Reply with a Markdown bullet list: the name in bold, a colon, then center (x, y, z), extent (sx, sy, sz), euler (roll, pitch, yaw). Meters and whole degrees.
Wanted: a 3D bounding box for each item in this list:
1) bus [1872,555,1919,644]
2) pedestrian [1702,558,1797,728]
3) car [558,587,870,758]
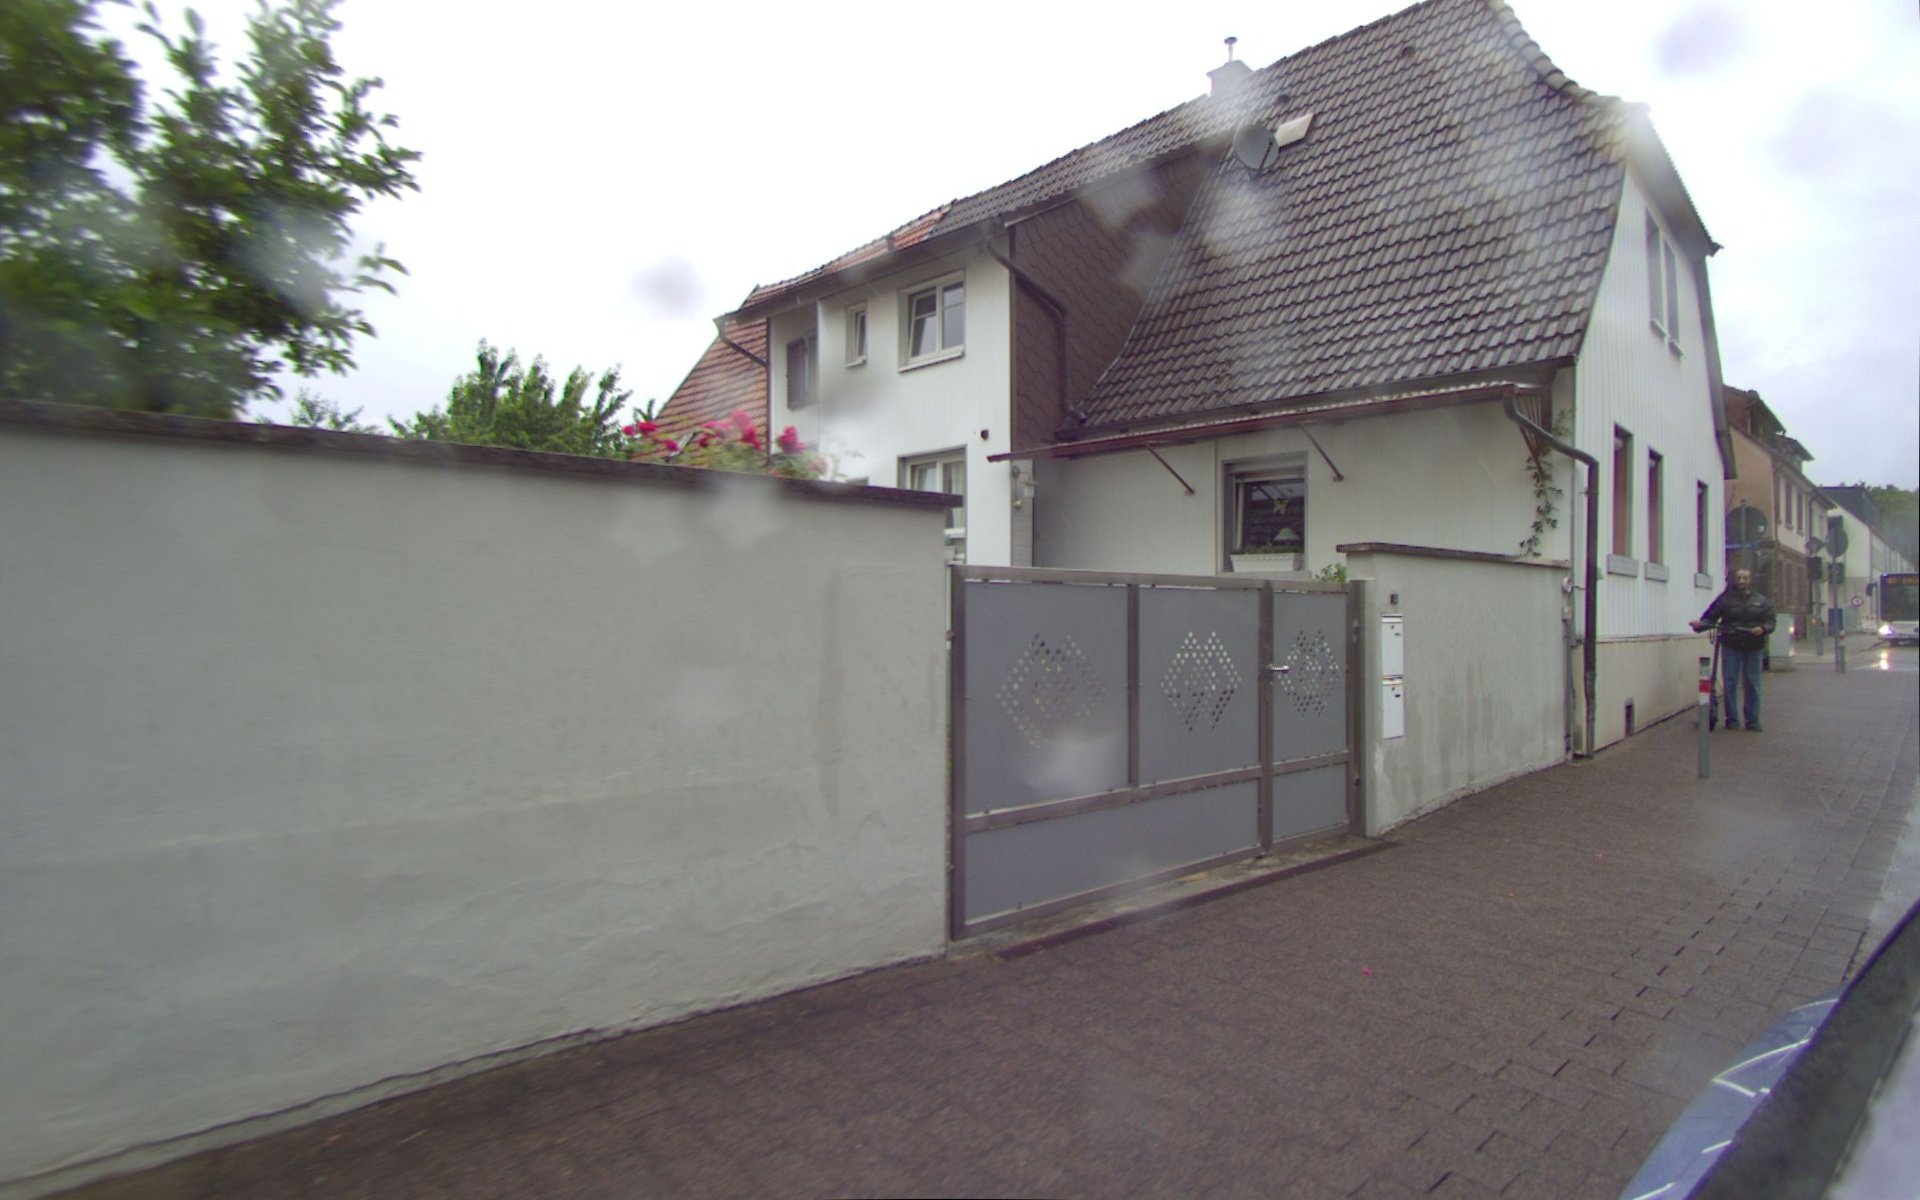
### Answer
- **bus**: center (43.025, -0.056, 43.735), extent (13.624, 3.455, 3.438), euler (0, -1, -40)
- **pedestrian**: center (8.533, 0.444, 10.936), extent (0.694, 1.755, 0.808), euler (-2, -1, 45)
- **car**: center (-2.745, 0.671, 10.763), extent (1.709, 1.477, 3.704), euler (-1, -1, -41)
